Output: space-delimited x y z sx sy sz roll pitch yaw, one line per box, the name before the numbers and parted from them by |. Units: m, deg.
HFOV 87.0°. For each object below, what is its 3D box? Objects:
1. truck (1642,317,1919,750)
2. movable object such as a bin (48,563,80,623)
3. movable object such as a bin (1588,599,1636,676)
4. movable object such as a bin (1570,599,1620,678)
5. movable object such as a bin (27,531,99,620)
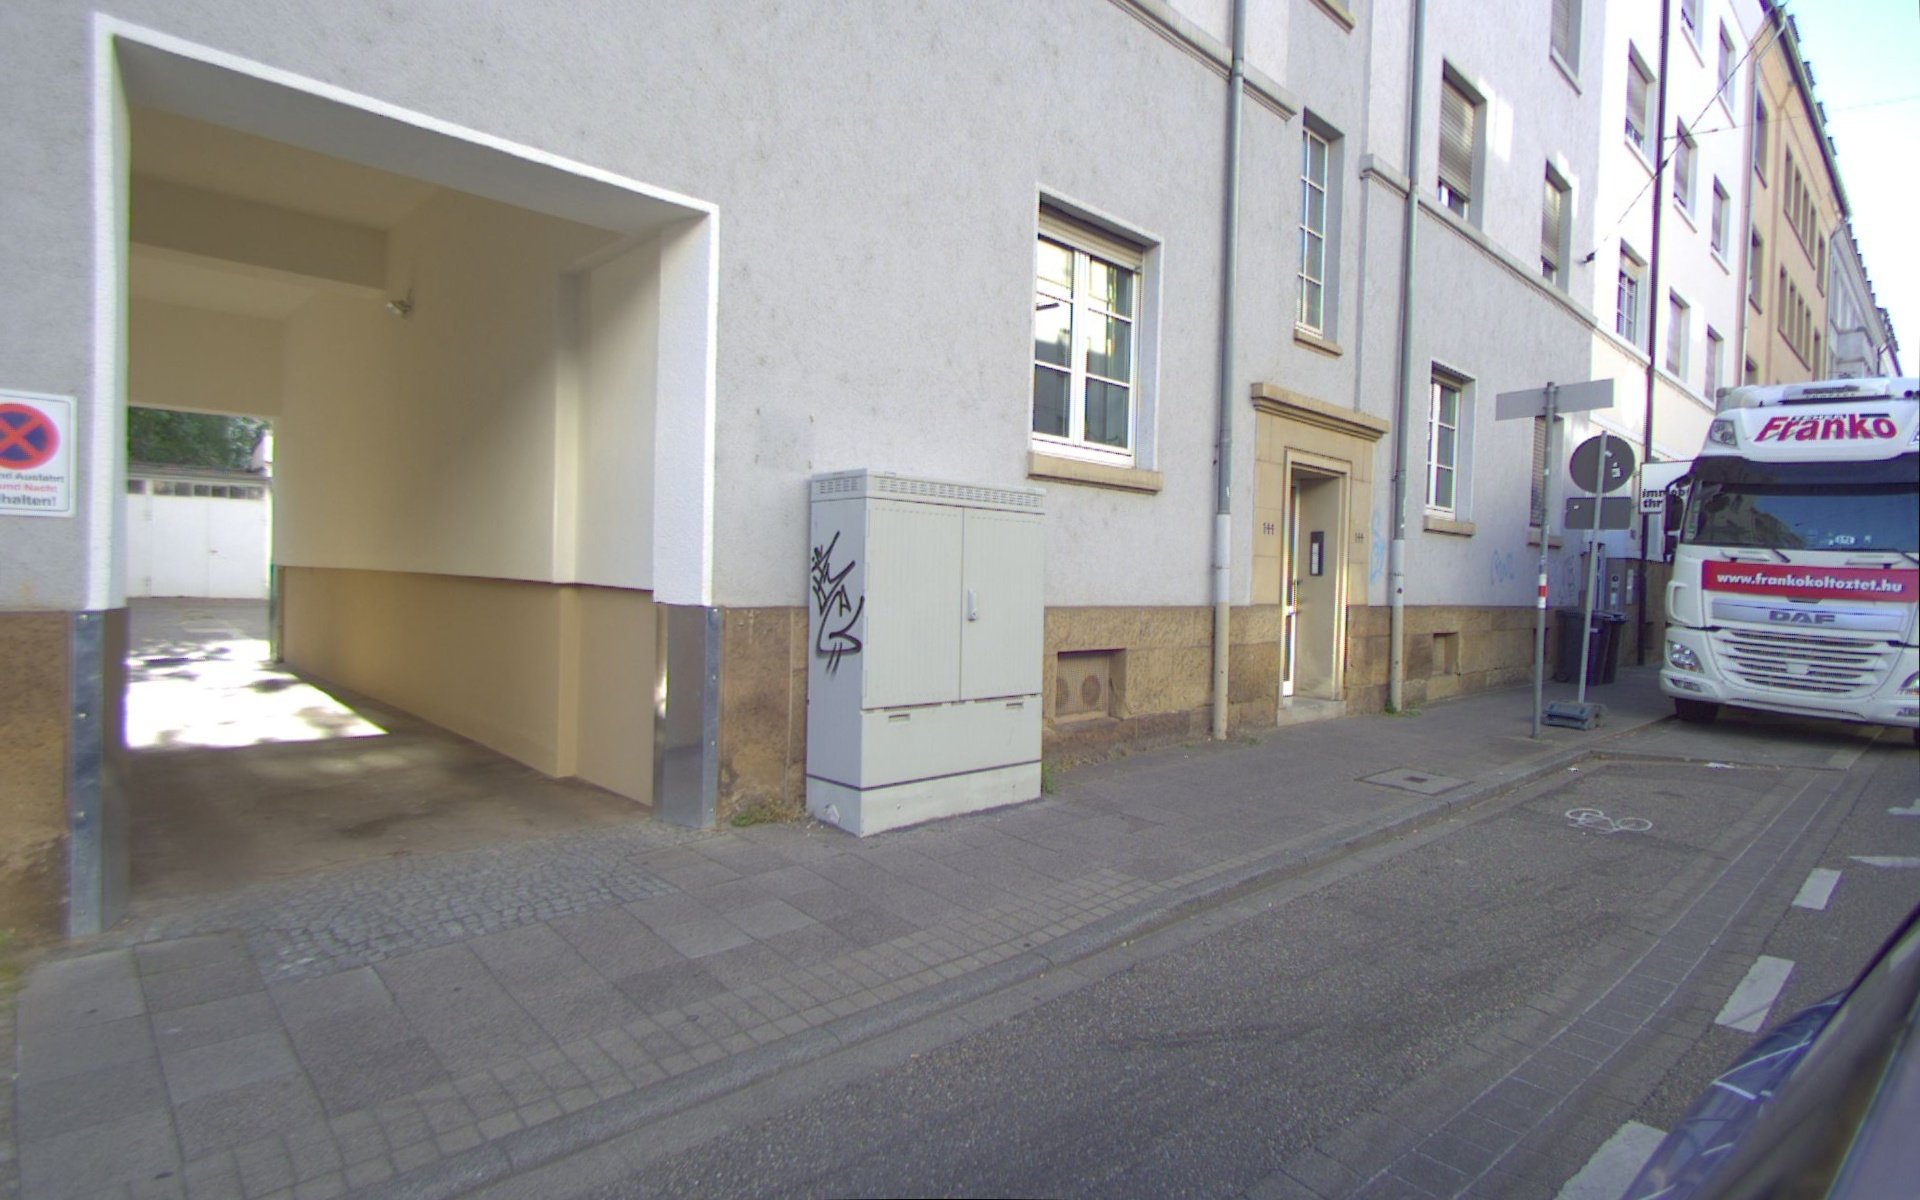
truck | 12.543 -0.607 13.897 11.511 4.012 2.894 0 0 -44
movable object such as a bin | -14.304 -0.117 16.157 0.366 0.919 0.420 0 3 -44
movable object such as a bin | 9.632 0.541 14.949 0.511 1.106 0.488 0 0 45
movable object such as a bin | 9.151 0.540 14.586 0.511 1.106 0.488 0 0 45
movable object such as a bin | -14.901 -0.419 16.806 0.874 1.409 0.758 0 4 -44
